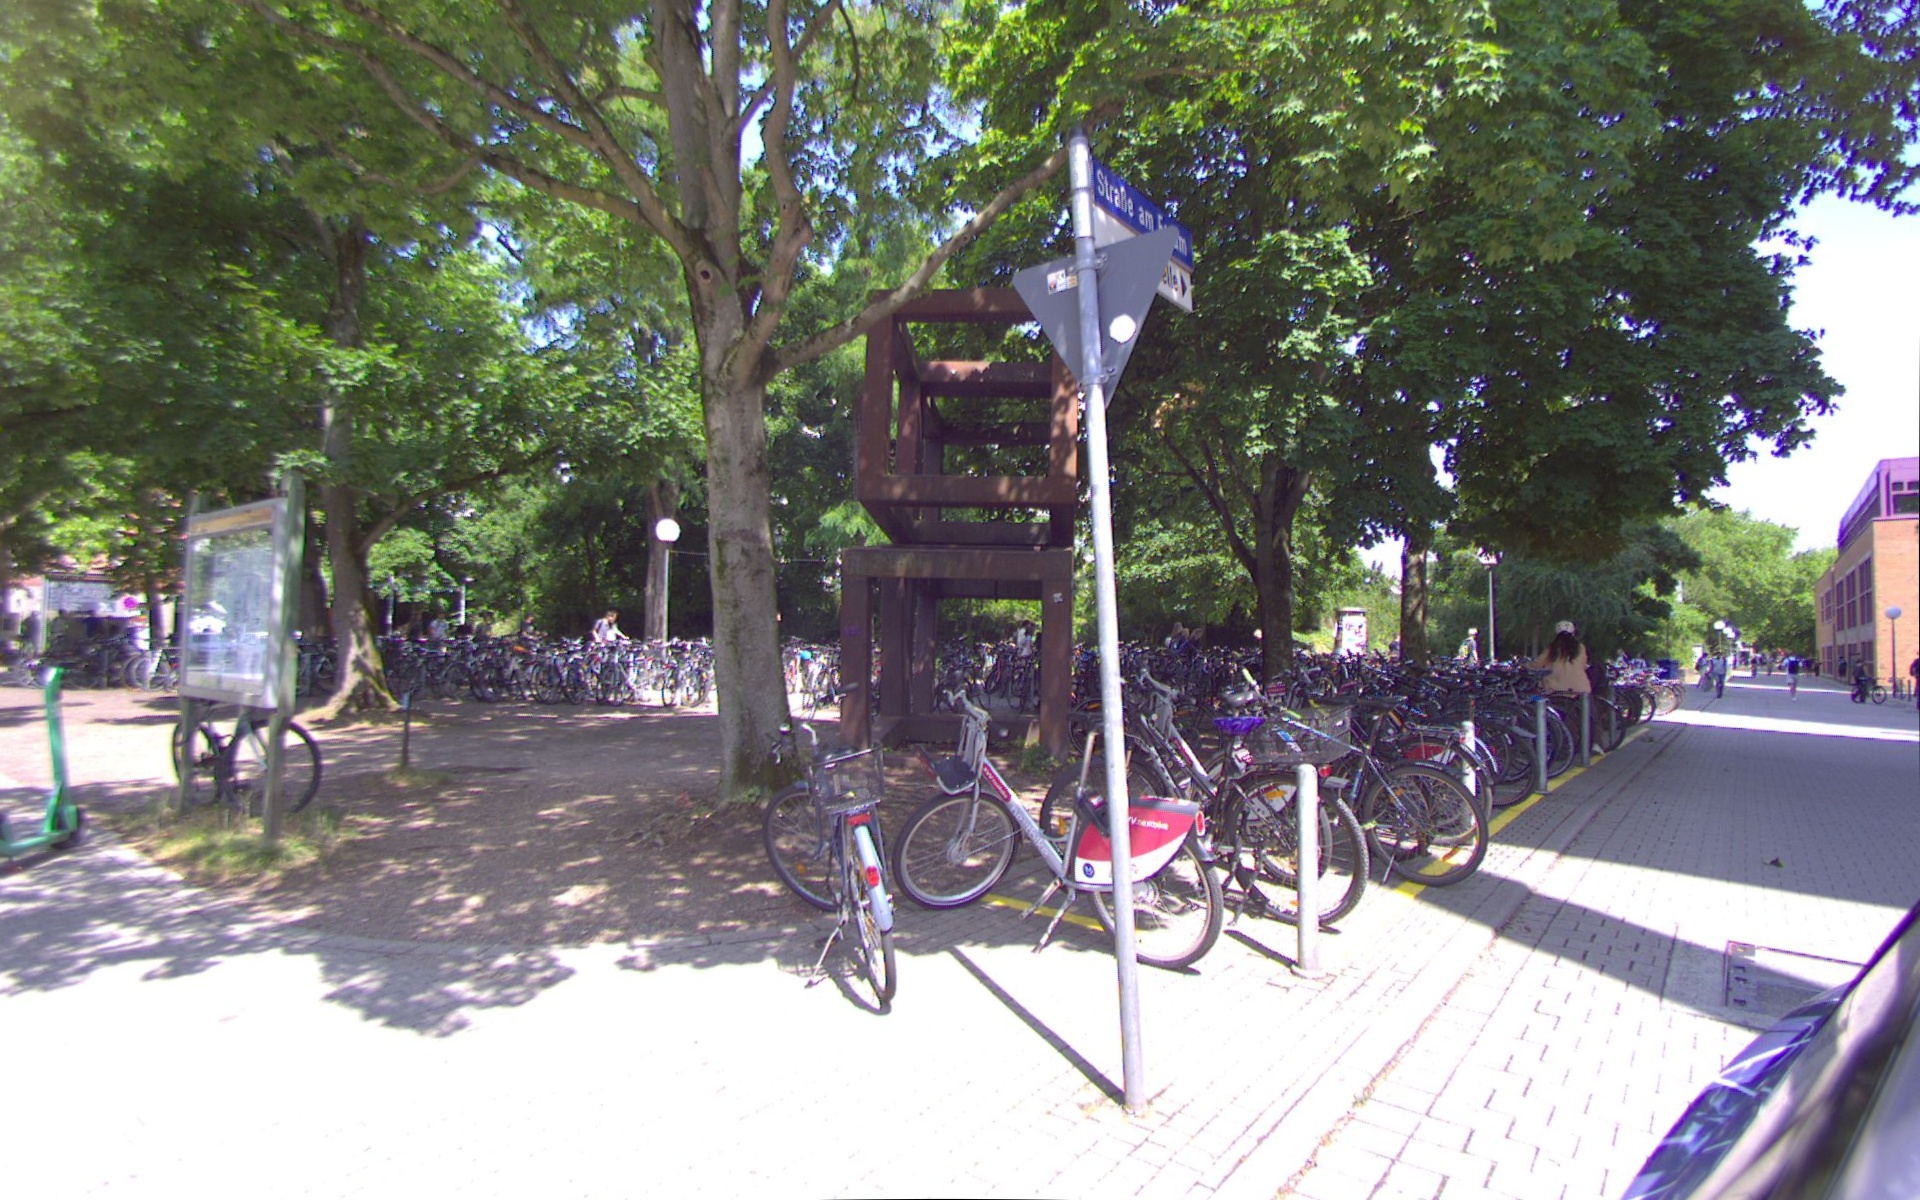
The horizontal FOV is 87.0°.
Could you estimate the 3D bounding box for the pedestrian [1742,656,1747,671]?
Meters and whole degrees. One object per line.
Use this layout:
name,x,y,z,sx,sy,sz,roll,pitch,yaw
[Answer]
pedestrian,103.482,8.378,133.513,0.529,1.873,0.650,-1,-4,40

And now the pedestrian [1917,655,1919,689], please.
pedestrian,43.666,3.253,45.605,0.687,1.531,0.508,0,0,38

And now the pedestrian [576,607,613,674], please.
pedestrian,-10.087,1.118,27.957,0.707,1.798,0.745,1,-2,-1

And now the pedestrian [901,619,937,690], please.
pedestrian,-1.054,1.399,26.417,0.798,1.798,0.853,1,-2,6

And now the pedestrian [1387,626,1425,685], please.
pedestrian,12.282,1.525,27.868,0.708,1.590,0.743,3,-3,-43

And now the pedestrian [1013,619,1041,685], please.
pedestrian,1.868,1.429,28.085,0.709,1.798,0.742,1,-2,9

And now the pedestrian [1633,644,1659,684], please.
pedestrian,26.863,2.500,39.619,0.505,1.531,0.692,0,0,-5

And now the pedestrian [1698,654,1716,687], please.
pedestrian,35.918,3.376,48.674,0.687,1.531,0.508,0,0,38

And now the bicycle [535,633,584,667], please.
bicycle,-12.826,1.579,32.454,0.472,1.053,1.743,-1,-2,17

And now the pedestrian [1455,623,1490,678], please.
pedestrian,15.155,1.483,29.909,0.708,1.590,0.743,3,-3,-43

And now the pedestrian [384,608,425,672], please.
pedestrian,-15.962,1.146,29.095,0.715,1.798,0.736,0,-2,31

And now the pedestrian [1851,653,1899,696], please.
pedestrian,34.256,2.766,37.883,1.182,1.531,0.730,0,0,-9

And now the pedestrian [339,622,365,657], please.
pedestrian,-24.421,1.591,40.636,0.714,1.363,0.660,0,0,35

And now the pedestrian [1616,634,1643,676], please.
pedestrian,25.136,2.071,38.007,0.505,1.531,0.692,0,0,-5

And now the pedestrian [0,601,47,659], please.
pedestrian,-32.843,1.043,35.450,1.064,1.974,0.830,0,-1,19

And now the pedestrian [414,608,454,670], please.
pedestrian,-15.500,1.134,29.825,0.715,1.798,0.736,0,-2,31

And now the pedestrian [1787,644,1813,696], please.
pedestrian,30.200,2.506,36.397,0.560,1.786,0.796,0,0,28

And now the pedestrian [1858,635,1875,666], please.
pedestrian,55.978,3.112,62.498,0.740,1.786,0.961,0,0,38

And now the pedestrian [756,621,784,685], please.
pedestrian,-5.372,1.487,28.625,0.706,1.798,0.746,2,-2,-13

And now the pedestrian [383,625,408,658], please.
pedestrian,-22.537,1.637,40.384,0.618,1.287,0.660,0,0,34

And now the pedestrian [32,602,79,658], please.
pedestrian,-32.529,1.056,36.403,1.064,1.974,0.830,0,-1,19

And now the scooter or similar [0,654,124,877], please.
scooter or similar,-5.493,0.916,6.000,0.487,1.128,1.364,2,-1,-26

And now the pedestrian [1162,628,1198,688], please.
pedestrian,5.997,1.570,27.600,0.706,1.590,0.746,2,-2,-14

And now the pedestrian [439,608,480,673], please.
pedestrian,-14.125,1.138,28.584,0.709,1.798,0.743,1,-2,8

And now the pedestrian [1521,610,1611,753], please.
pedestrian,7.597,0.996,12.700,0.938,1.725,0.422,0,-4,35

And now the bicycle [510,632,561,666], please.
bicycle,-13.869,1.578,33.127,0.472,1.053,1.821,-1,-2,17

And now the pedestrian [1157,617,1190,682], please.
pedestrian,6.136,1.411,29.104,0.706,1.813,0.745,1,-2,-5

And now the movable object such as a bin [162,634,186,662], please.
movable object such as a bin,-31.284,1.907,40.270,0.738,1.085,0.592,-4,-5,40

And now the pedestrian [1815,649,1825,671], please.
pedestrian,72.854,5.109,85.710,0.563,1.786,0.791,0,0,44

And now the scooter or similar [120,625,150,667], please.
scooter or similar,-24.837,1.373,30.467,1.288,1.235,0.419,-2,-4,40

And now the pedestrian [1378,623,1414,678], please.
pedestrian,12.983,1.499,30.132,0.708,1.590,0.743,3,-3,-43

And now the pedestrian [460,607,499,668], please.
pedestrian,-14.476,1.118,30.506,0.715,1.798,0.736,0,-2,31

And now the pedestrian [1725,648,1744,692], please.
pedestrian,28.204,2.539,36.854,0.513,1.531,0.681,0,0,41

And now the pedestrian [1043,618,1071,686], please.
pedestrian,2.605,1.385,27.268,0.708,1.798,0.743,1,-2,5

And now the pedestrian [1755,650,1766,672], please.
pedestrian,65.612,4.996,82.952,0.664,1.786,0.793,0,0,37

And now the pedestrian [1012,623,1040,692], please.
pedestrian,1.780,1.528,27.169,0.708,1.798,0.743,1,-2,6

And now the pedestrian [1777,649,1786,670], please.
pedestrian,72.860,5.308,89.758,0.563,1.786,0.791,0,0,44

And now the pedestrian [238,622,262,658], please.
pedestrian,-27.714,1.571,39.519,0.724,1.363,0.564,0,0,35

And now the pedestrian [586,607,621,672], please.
pedestrian,-10.125,1.109,28.748,0.707,1.798,0.745,1,-2,-1

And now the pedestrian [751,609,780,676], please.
pedestrian,-5.346,1.152,27.732,0.706,1.798,0.746,2,-2,-13

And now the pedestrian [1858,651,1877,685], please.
pedestrian,51.102,3.825,56.987,0.740,1.786,0.961,0,0,38

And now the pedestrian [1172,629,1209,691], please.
pedestrian,6.102,1.583,26.817,0.706,1.590,0.746,1,-2,-9

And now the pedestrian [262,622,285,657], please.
pedestrian,-27.258,1.560,40.182,0.724,1.363,0.564,0,0,35

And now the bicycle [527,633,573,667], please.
bicycle,-13.165,1.581,32.564,0.343,1.053,1.743,-1,-2,17

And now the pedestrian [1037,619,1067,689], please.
pedestrian,2.414,1.410,26.531,0.707,1.798,0.657,1,-2,1

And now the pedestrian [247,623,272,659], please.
pedestrian,-27.052,1.571,39.084,0.724,1.363,0.564,0,0,35

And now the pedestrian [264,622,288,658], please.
pedestrian,-26.736,1.563,39.564,0.724,1.363,0.564,0,0,35

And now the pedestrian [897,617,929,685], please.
pedestrian,-1.280,1.377,27.602,0.708,1.798,0.743,1,-2,7

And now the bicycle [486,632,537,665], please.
bicycle,-14.728,1.585,33.249,0.472,1.053,1.774,-1,-2,17

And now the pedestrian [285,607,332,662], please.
pedestrian,-21.545,1.138,33.475,0.912,1.798,0.950,0,-2,31

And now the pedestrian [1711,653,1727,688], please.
pedestrian,34.377,3.183,45.827,0.513,1.531,0.681,0,-3,41

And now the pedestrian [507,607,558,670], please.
pedestrian,-12.478,1.116,29.565,0.959,1.798,0.958,1,-2,17
